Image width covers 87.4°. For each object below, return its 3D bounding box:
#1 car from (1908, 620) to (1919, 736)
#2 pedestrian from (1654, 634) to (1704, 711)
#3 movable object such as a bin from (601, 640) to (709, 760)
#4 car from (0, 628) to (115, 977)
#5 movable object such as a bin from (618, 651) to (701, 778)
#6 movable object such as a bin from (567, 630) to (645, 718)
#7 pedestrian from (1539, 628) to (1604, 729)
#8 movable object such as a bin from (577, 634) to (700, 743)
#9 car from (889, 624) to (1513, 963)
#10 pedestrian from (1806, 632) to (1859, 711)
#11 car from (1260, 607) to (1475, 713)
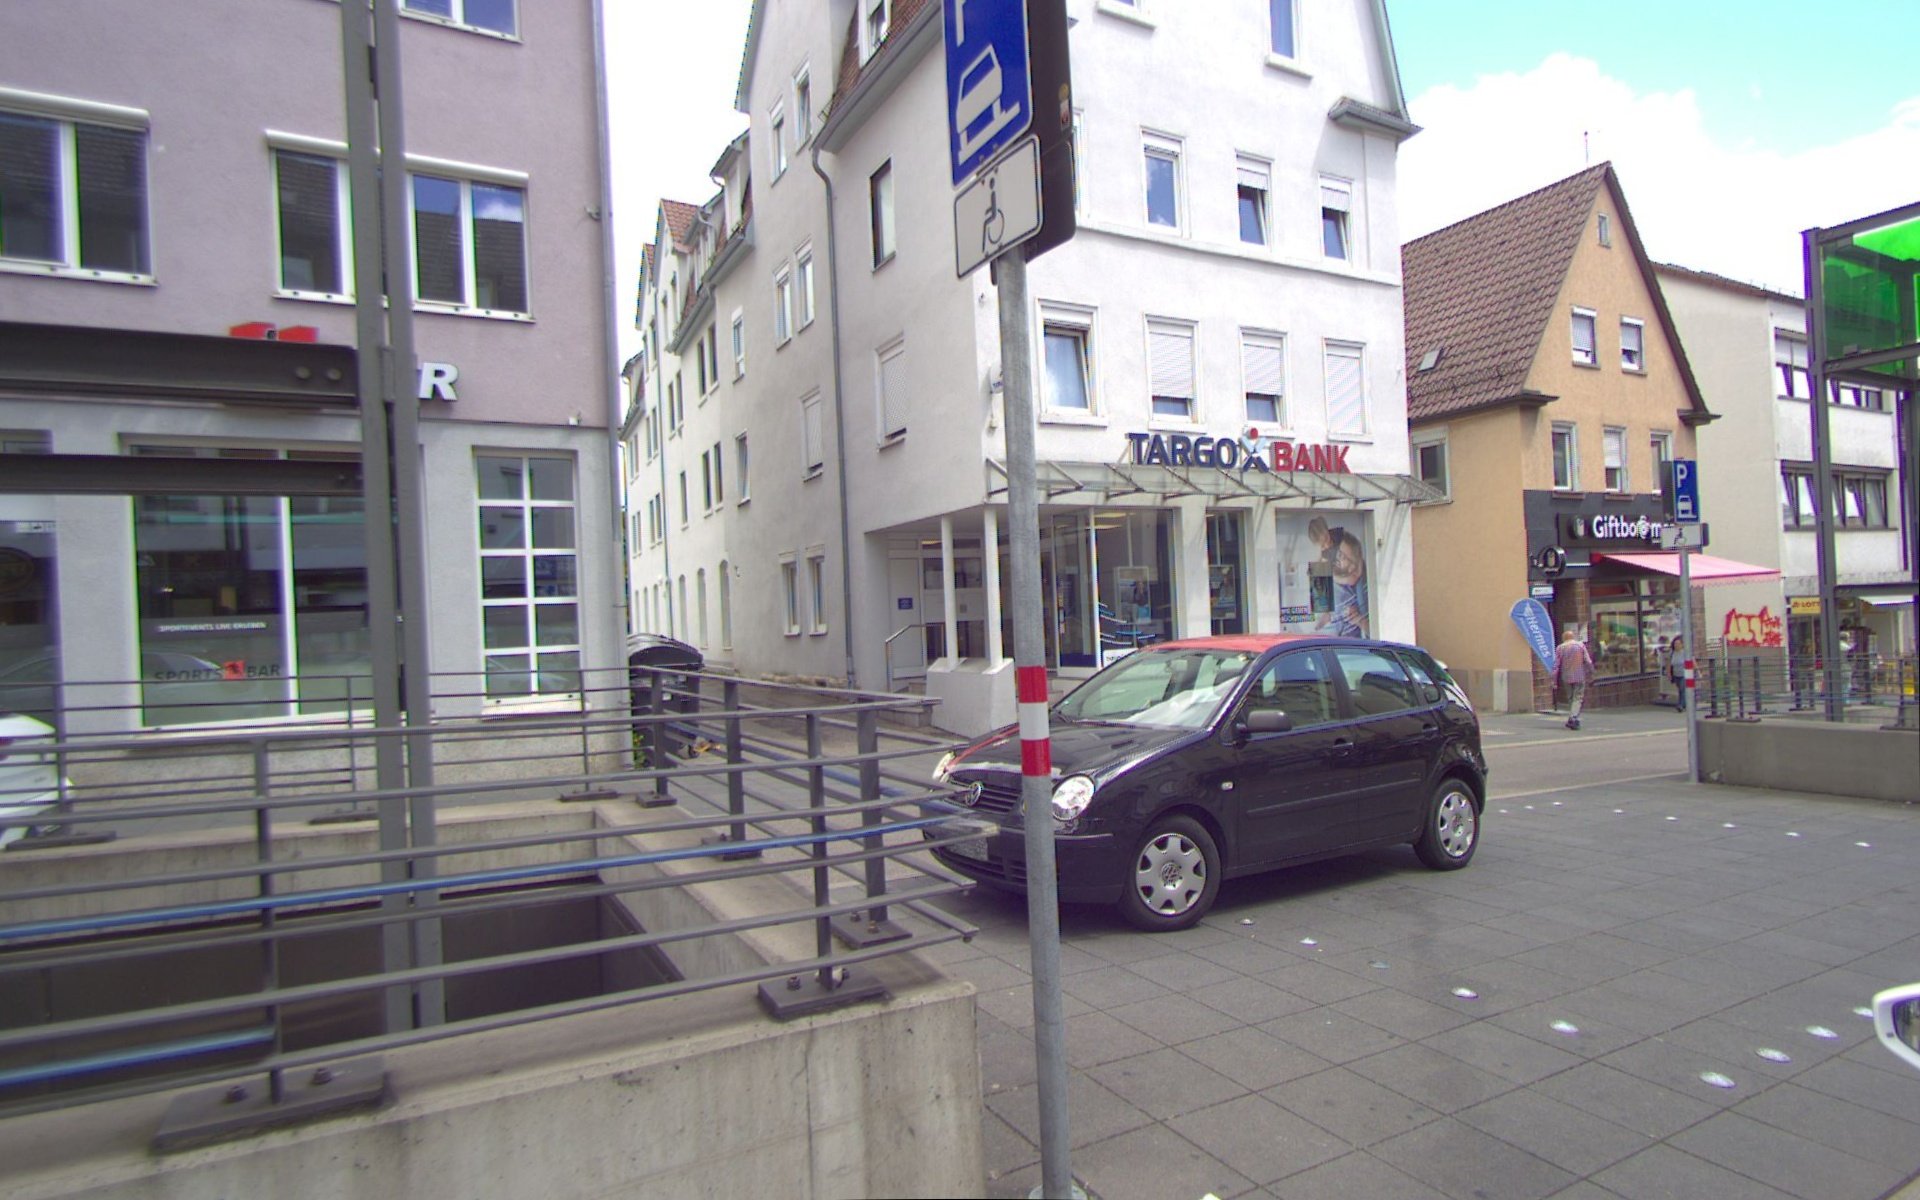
[{"bbox_3d":[15.216,1.110,14.081,4.144,1.563,1.730,1,0,-31],"label":"car"},{"bbox_3d":[15.204,1.523,21.254,0.708,1.594,0.562,1,-3,-30],"label":"pedestrian"},{"bbox_3d":[-3.895,1.224,12.780,1.055,1.394,1.277,1,-1,-30],"label":"movable object such as a bin"},{"bbox_3d":[-6.477,0.905,4.319,4.074,1.592,1.671,1,-2,-31],"label":"car"},{"bbox_3d":[-3.529,1.315,11.796,0.798,1.394,0.686,1,-1,-30],"label":"movable object such as a bin"},{"bbox_3d":[-5.981,1.217,16.952,1.031,1.394,1.277,1,-1,-30],"label":"movable object such as a bin"},{"bbox_3d":[10.619,1.341,17.451,0.816,1.711,0.637,1,-1,-26],"label":"pedestrian"},{"bbox_3d":[-4.470,1.182,13.936,1.391,1.394,1.277,1,-1,-30],"label":"movable object such as a bin"},{"bbox_3d":[1.604,0.913,6.165,3.815,1.495,1.559,1,-2,-33],"label":"car"},{"bbox_3d":[19.509,1.588,22.463,0.653,1.711,0.646,1,-1,10],"label":"pedestrian"},{"bbox_3d":[8.806,1.216,22.056,1.861,1.898,4.051,1,2,-30],"label":"car"}]
